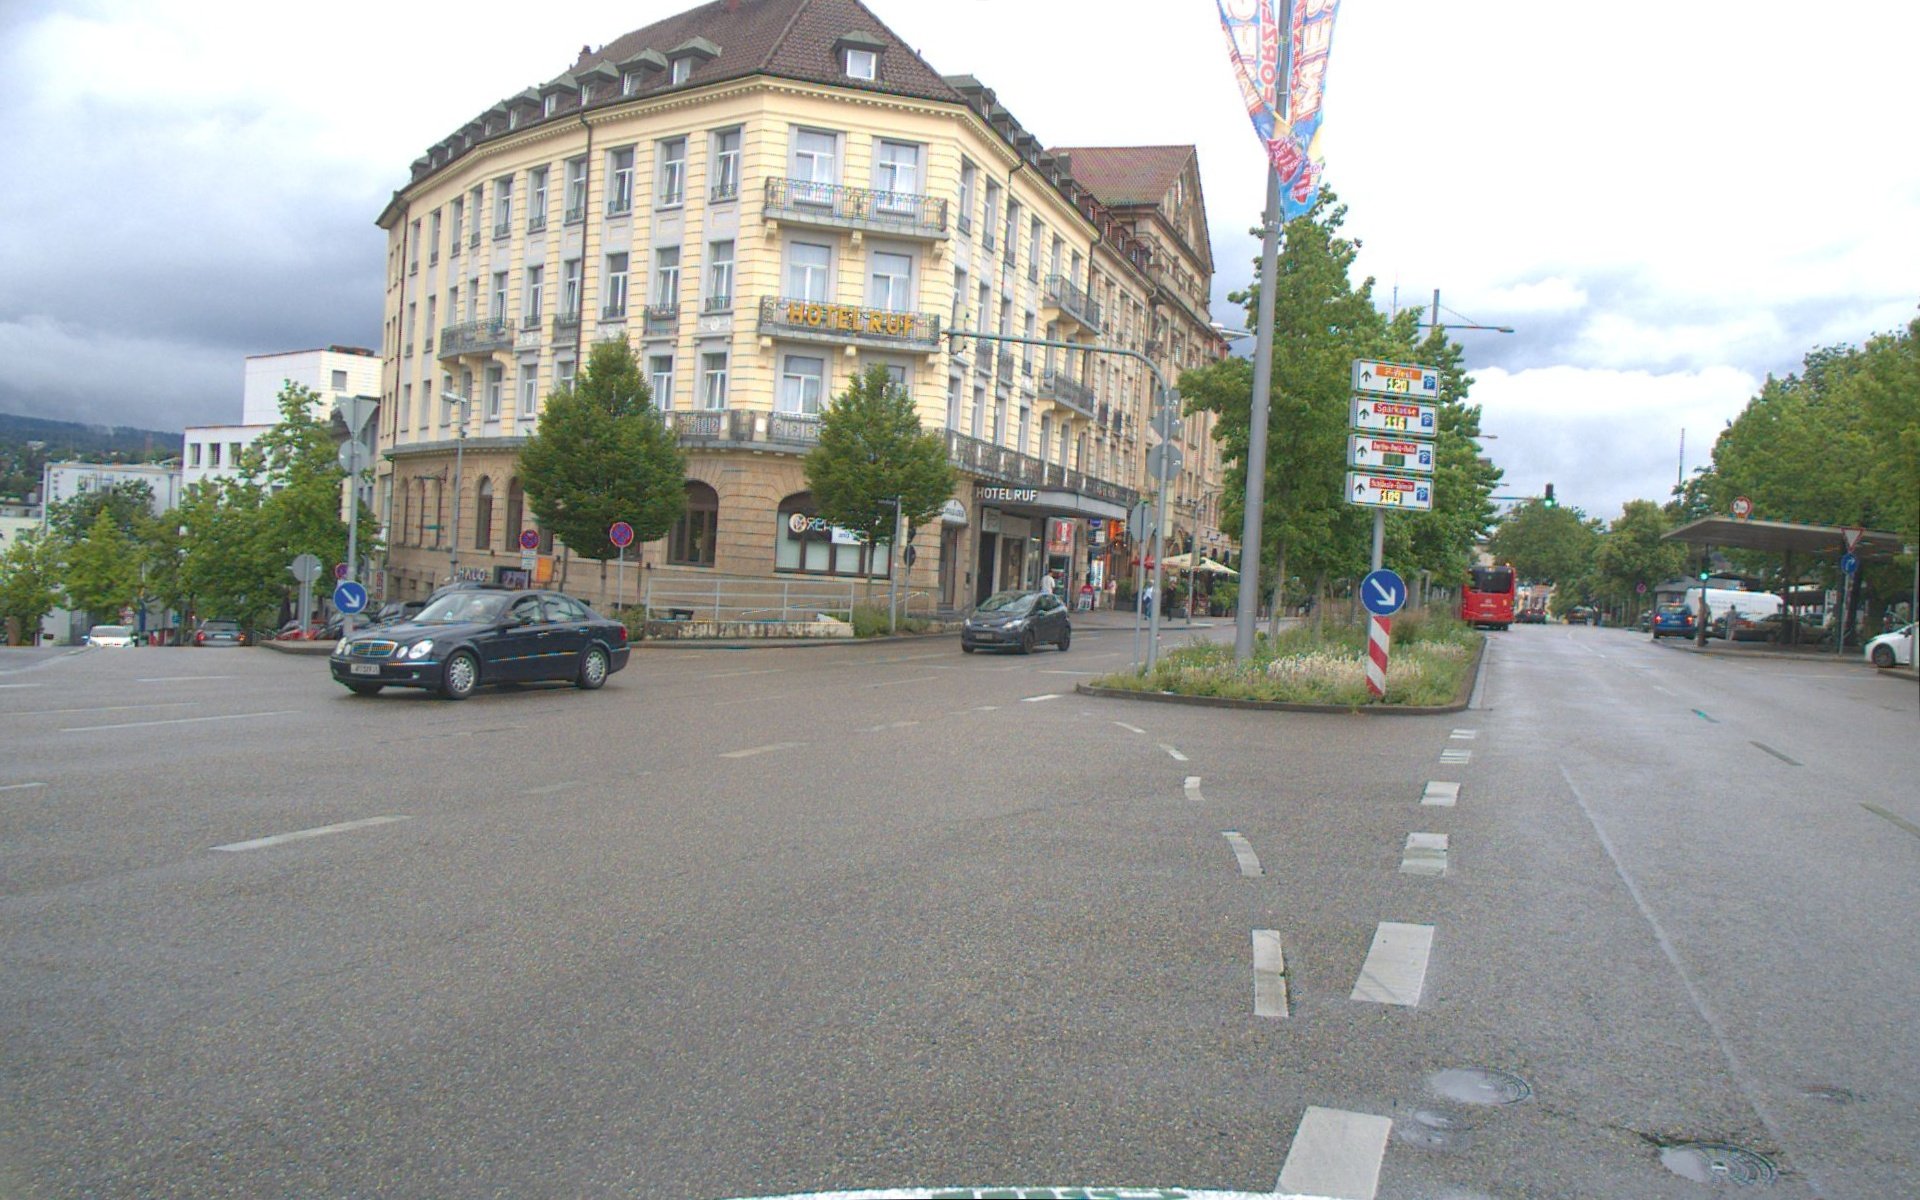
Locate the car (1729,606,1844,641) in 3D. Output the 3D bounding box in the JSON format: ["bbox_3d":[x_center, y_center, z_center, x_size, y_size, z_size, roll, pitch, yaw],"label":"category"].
[{"bbox_3d":[36.044,1.029,72.206,4.100,1.348,1.840,2,0,-1],"label":"car"}]

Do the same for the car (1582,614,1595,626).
[{"bbox_3d":[90.449,2.894,238.063,1.610,1.690,3.651,1,0,19],"label":"car"}]

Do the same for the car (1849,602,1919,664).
[{"bbox_3d":[25.737,0.890,42.929,1.732,1.572,4.748,2,0,-20],"label":"car"}]

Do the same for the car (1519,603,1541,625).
[{"bbox_3d":[55.615,1.349,161.466,1.952,2.049,4.001,1,0,19],"label":"car"}]

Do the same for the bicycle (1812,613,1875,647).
[{"bbox_3d":[28.956,0.980,54.225,1.789,1.074,0.420,1,0,19],"label":"bicycle"}]

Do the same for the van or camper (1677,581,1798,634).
[{"bbox_3d":[42.988,0.429,91.471,5.835,2.811,2.195,1,0,-8],"label":"van or camper"}]

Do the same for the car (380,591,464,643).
[{"bbox_3d":[-16.372,0.505,50.205,1.613,1.422,3.959,1,1,-31],"label":"car"}]

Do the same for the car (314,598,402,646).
[{"bbox_3d":[-19.784,0.698,54.257,1.750,1.504,3.950,1,0,-35],"label":"car"}]

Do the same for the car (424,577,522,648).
[{"bbox_3d":[-13.182,0.309,44.655,1.613,1.790,3.959,1,1,-31],"label":"car"}]

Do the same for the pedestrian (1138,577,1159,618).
[{"bbox_3d":[7.893,-0.084,69.086,0.667,1.693,0.807,1,0,22],"label":"pedestrian"}]

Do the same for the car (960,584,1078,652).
[{"bbox_3d":[1.472,0.426,39.823,1.642,1.539,3.863,1,0,22],"label":"car"}]

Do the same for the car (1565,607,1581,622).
[{"bbox_3d":[69.646,1.657,187.845,1.561,1.588,3.651,1,0,19],"label":"car"}]

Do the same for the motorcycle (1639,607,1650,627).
[{"bbox_3d":[44.996,1.118,108.651,0.583,1.310,1.952,1,0,24],"label":"motorcycle"}]

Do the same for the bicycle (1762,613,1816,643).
[{"bbox_3d":[31.288,1.051,62.435,1.790,1.074,0.420,1,0,1],"label":"bicycle"}]

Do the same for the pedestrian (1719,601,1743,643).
[{"bbox_3d":[34.978,1.006,75.052,0.838,1.867,1.190,1,-1,18],"label":"pedestrian"}]

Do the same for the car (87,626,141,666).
[{"bbox_3d":[-33.107,1.777,64.695,1.613,1.422,3.958,1,0,-31],"label":"car"}]

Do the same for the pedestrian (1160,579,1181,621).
[{"bbox_3d":[8.738,0.004,68.690,0.667,1.693,0.807,1,0,19],"label":"pedestrian"}]

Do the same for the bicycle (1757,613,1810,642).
[{"bbox_3d":[31.326,1.057,62.896,1.790,1.074,0.420,1,0,1],"label":"bicycle"}]

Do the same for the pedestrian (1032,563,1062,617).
[{"bbox_3d":[3.019,-0.334,57.497,0.861,1.844,0.751,1,0,19],"label":"pedestrian"}]

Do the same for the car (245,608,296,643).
[{"bbox_3d":[-32.265,1.179,77.363,1.745,1.504,3.961,1,0,-29],"label":"car"}]

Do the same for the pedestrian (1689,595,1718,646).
[{"bbox_3d":[26.542,0.739,59.081,0.730,1.777,0.837,2,-1,11],"label":"pedestrian"}]

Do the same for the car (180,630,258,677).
[{"bbox_3d":[-26.268,1.854,58.533,1.681,1.491,4.396,1,0,-36],"label":"car"}]

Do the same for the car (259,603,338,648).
[{"bbox_3d":[-23.633,0.888,59.021,1.750,1.504,3.960,1,0,-35],"label":"car"}]

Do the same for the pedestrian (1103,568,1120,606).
[{"bbox_3d":[6.794,-0.571,74.194,0.652,1.693,0.537,1,0,10],"label":"pedestrian"}]

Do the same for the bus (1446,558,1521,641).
[{"bbox_3d":[27.453,0.003,87.212,3.470,4.049,11.178,1,0,16],"label":"bus"}]

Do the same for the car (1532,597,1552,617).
[{"bbox_3d":[61.832,0.749,175.785,1.952,2.049,4.001,1,0,19],"label":"car"}]

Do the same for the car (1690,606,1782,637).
[{"bbox_3d":[40.330,1.114,85.979,3.912,1.468,1.862,2,0,-8],"label":"car"}]

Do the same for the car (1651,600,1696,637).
[{"bbox_3d":[32.997,0.880,76.571,1.821,1.596,3.999,2,0,22],"label":"car"}]

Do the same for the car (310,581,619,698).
[{"bbox_3d":[-6.709,0.502,22.842,1.917,1.447,3.997,1,0,25],"label":"car"}]
